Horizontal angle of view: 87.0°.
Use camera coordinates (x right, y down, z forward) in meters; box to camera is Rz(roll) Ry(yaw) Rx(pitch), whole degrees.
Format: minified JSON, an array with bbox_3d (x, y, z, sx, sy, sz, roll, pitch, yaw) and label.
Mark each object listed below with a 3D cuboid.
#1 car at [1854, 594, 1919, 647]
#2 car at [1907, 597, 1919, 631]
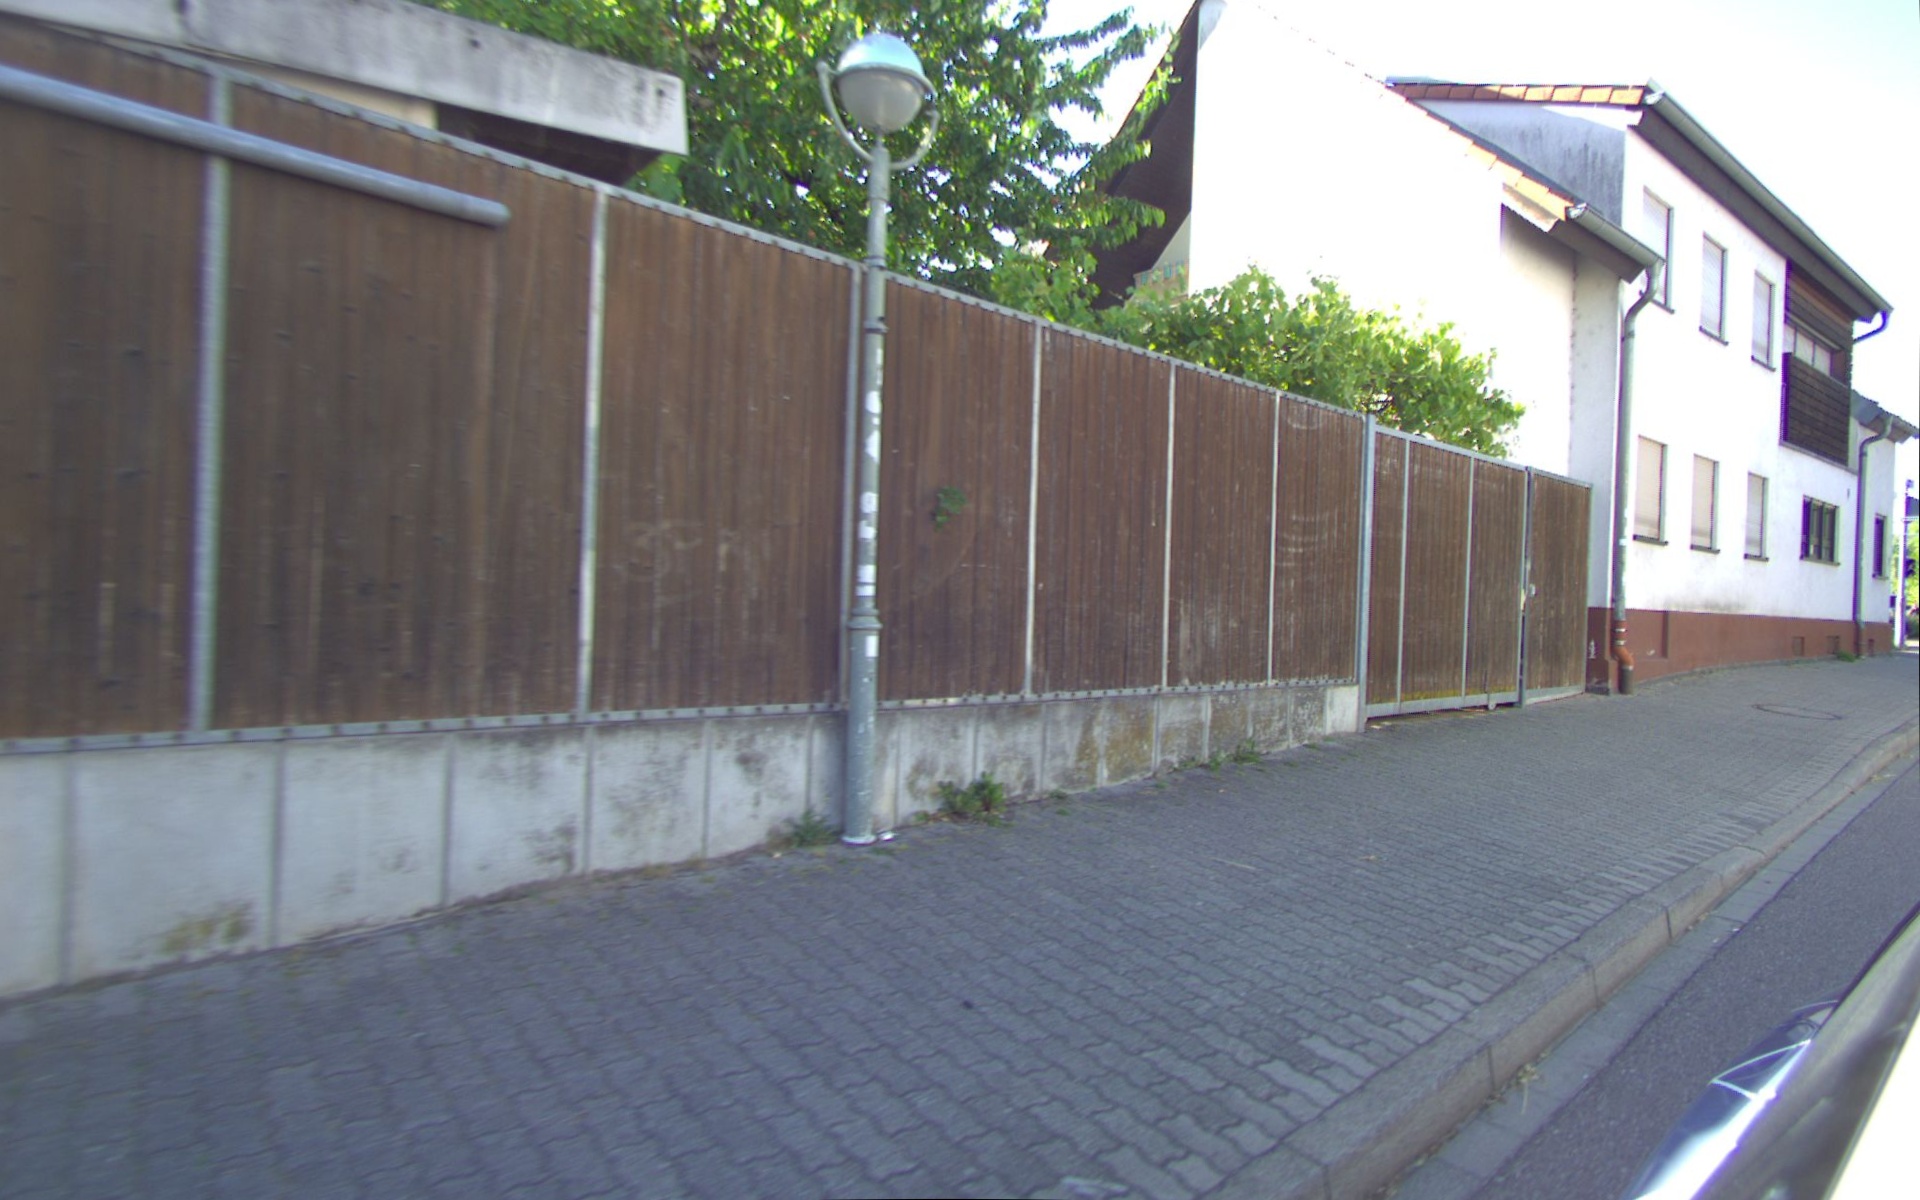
[{"bbox_3d":[39.972,0.850,43.690,1.993,2.105,4.508,2,1,42],"label":"car"},{"bbox_3d":[55.588,0.829,57.454,1.953,1.943,4.521,2,1,34],"label":"car"}]
